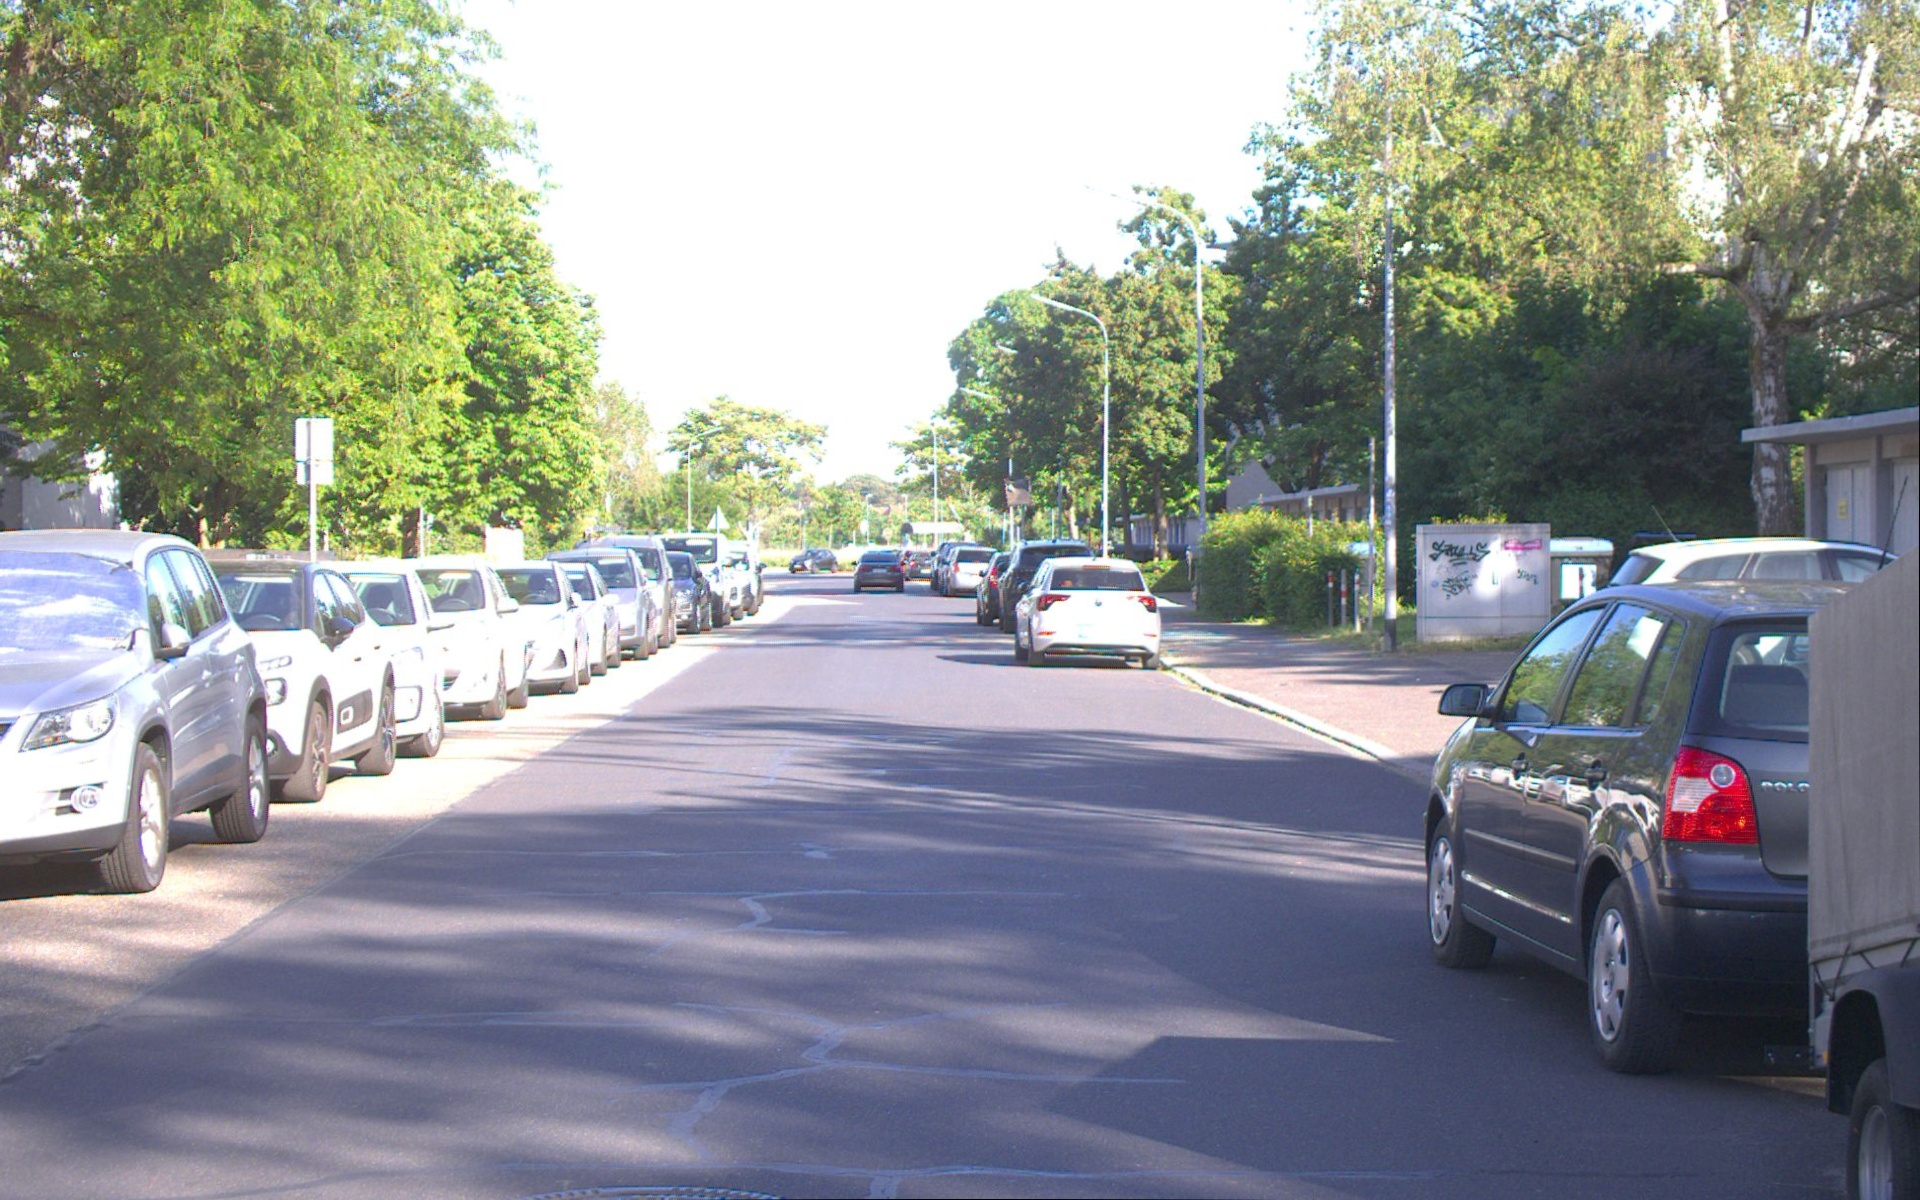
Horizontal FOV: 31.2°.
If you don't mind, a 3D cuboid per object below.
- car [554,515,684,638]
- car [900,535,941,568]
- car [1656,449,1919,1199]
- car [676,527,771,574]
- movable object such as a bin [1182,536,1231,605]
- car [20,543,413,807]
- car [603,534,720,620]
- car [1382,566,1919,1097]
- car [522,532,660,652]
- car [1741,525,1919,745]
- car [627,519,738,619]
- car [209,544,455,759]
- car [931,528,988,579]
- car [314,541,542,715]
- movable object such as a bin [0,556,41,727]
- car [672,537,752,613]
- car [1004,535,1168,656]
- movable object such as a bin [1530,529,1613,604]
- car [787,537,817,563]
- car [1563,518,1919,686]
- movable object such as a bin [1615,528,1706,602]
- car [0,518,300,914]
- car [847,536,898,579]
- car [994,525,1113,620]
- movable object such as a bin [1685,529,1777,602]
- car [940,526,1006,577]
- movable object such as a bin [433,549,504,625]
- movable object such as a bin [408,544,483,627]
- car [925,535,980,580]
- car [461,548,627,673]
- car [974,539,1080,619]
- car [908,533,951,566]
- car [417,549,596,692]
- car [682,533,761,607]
[{"bbox_3d":[-5.506,-0.406,55.962,1.854,1.886,4.419,-1,1,-3],"label":"car"},{"bbox_3d":[-1.970,-2.417,171.132,1.795,1.638,3.952,1,1,-4],"label":"car"},{"bbox_3d":[2.565,0.566,7.436,1.488,1.712,2.583,1,1,-2],"label":"car"},{"bbox_3d":[-10.327,-2.175,150.197,4.053,1.985,1.802,1,1,-6],"label":"car"},{"bbox_3d":[5.246,-0.642,73.167,0.917,1.449,1.233,0,1,-1],"label":"movable object such as a bin"},{"bbox_3d":[-4.681,0.409,22.167,1.662,1.508,3.946,-1,1,0],"label":"car"},{"bbox_3d":[-5.605,-0.461,64.929,1.746,1.528,4.139,-1,1,1],"label":"car"},{"bbox_3d":[2.624,0.620,11.300,1.731,1.399,3.896,1,1,-4],"label":"car"},{"bbox_3d":[-5.331,-0.148,49.993,1.709,1.595,3.986,-3,1,-3],"label":"car"},{"bbox_3d":[8.131,0.190,24.869,4.513,1.508,1.829,-1,1,0],"label":"car"},{"bbox_3d":[-5.701,-0.660,71.145,1.915,1.956,5.088,-1,1,-1],"label":"car"},{"bbox_3d":[-4.797,0.343,26.632,1.662,1.508,3.539,-1,1,-8],"label":"car"},{"bbox_3d":[-0.020,-1.687,124.137,1.795,1.780,3.952,1,1,-4],"label":"car"},{"bbox_3d":[-5.062,0.221,33.139,1.686,1.529,3.891,-1,1,-2],"label":"car"},{"bbox_3d":[-8.196,0.311,27.684,1.177,1.335,1.343,2,1,0],"label":"movable object such as a bin"},{"bbox_3d":[-5.733,-0.600,79.401,1.746,1.664,4.379,-2,1,-4],"label":"car"},{"bbox_3d":[1.641,-0.090,46.111,1.753,1.508,4.105,1,1,-4],"label":"car"},{"bbox_3d":[11.164,-0.614,62.788,1.254,1.348,1.279,0,1,-2],"label":"movable object such as a bin"},{"bbox_3d":[-9.769,-3.105,212.064,1.795,1.556,3.952,1,1,-4],"label":"car"},{"bbox_3d":[8.192,-0.014,33.077,4.415,1.508,1.829,-1,1,-1],"label":"car"},{"bbox_3d":[12.860,-0.654,63.183,1.254,1.348,1.279,0,1,-10],"label":"movable object such as a bin"},{"bbox_3d":[-4.492,0.460,16.427,1.903,1.634,4.349,-1,1,-1],"label":"car"},{"bbox_3d":[-3.190,-1.553,124.916,1.679,1.508,4.105,1,1,-4],"label":"car"},{"bbox_3d":[1.647,-0.519,62.180,1.908,1.634,4.629,0,1,-1],"label":"car"},{"bbox_3d":[14.277,-0.645,63.695,1.254,1.348,1.279,0,1,-12],"label":"movable object such as a bin"},{"bbox_3d":[0.404,-1.529,108.267,1.795,1.556,3.952,1,1,-4],"label":"car"},{"bbox_3d":[-9.147,-0.255,64.084,1.101,1.352,1.361,2,1,-1],"label":"movable object such as a bin"},{"bbox_3d":[-9.165,-0.267,61.268,1.101,1.416,1.361,2,1,-1],"label":"movable object such as a bin"},{"bbox_3d":[-0.304,-1.608,128.705,1.795,1.638,3.952,1,1,-4],"label":"car"},{"bbox_3d":[-5.337,0.093,44.536,1.686,1.460,4.526,-3,1,-2],"label":"car"},{"bbox_3d":[1.289,-0.437,68.027,1.908,1.525,4.328,0,1,-1],"label":"car"},{"bbox_3d":[-1.463,-2.414,163.519,1.795,1.543,3.952,1,1,-4],"label":"car"},{"bbox_3d":[-5.096,0.193,38.989,1.686,1.500,3.818,-1,1,-3],"label":"car"},{"bbox_3d":[-5.871,-0.762,84.987,1.746,1.726,4.006,-1,1,-1],"label":"car"}]
